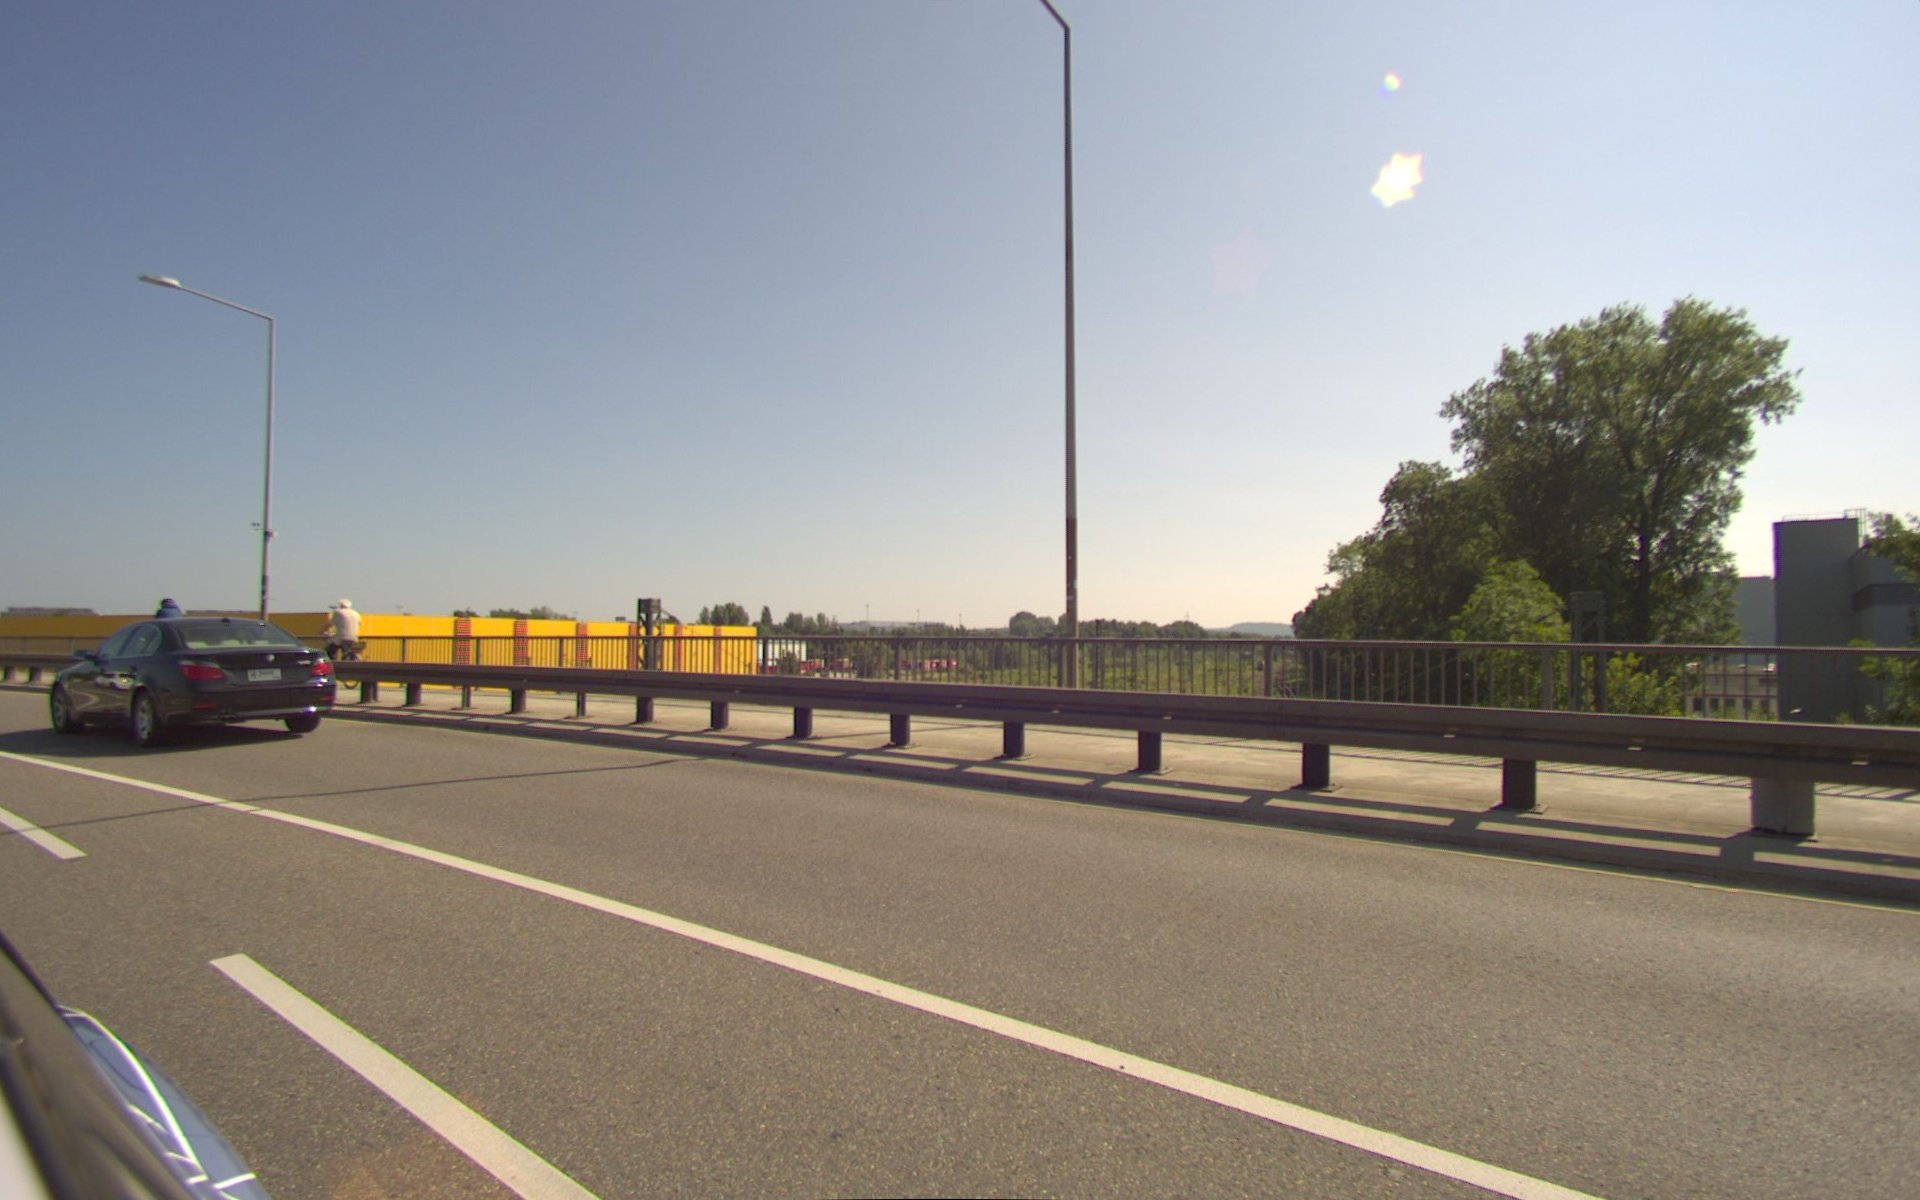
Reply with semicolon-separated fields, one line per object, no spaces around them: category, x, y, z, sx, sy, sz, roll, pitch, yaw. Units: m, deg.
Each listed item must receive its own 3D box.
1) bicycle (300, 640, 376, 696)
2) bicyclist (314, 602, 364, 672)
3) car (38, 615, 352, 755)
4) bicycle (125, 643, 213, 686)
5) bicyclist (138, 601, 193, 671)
bicycle;-12.203;1.329;19.840;1.704;1.055;0.569;-2;-4;33
bicyclist;-12.138;0.711;19.781;0.943;1.339;0.484;0;0;32
car;-9.723;0.970;12.754;4.504;1.453;1.840;-2;-1;35
bicycle;-17.618;1.429;22.537;1.960;0.898;0.921;-2;-1;32
bicyclist;-17.699;0.788;22.537;1.012;1.508;0.655;0;0;31
